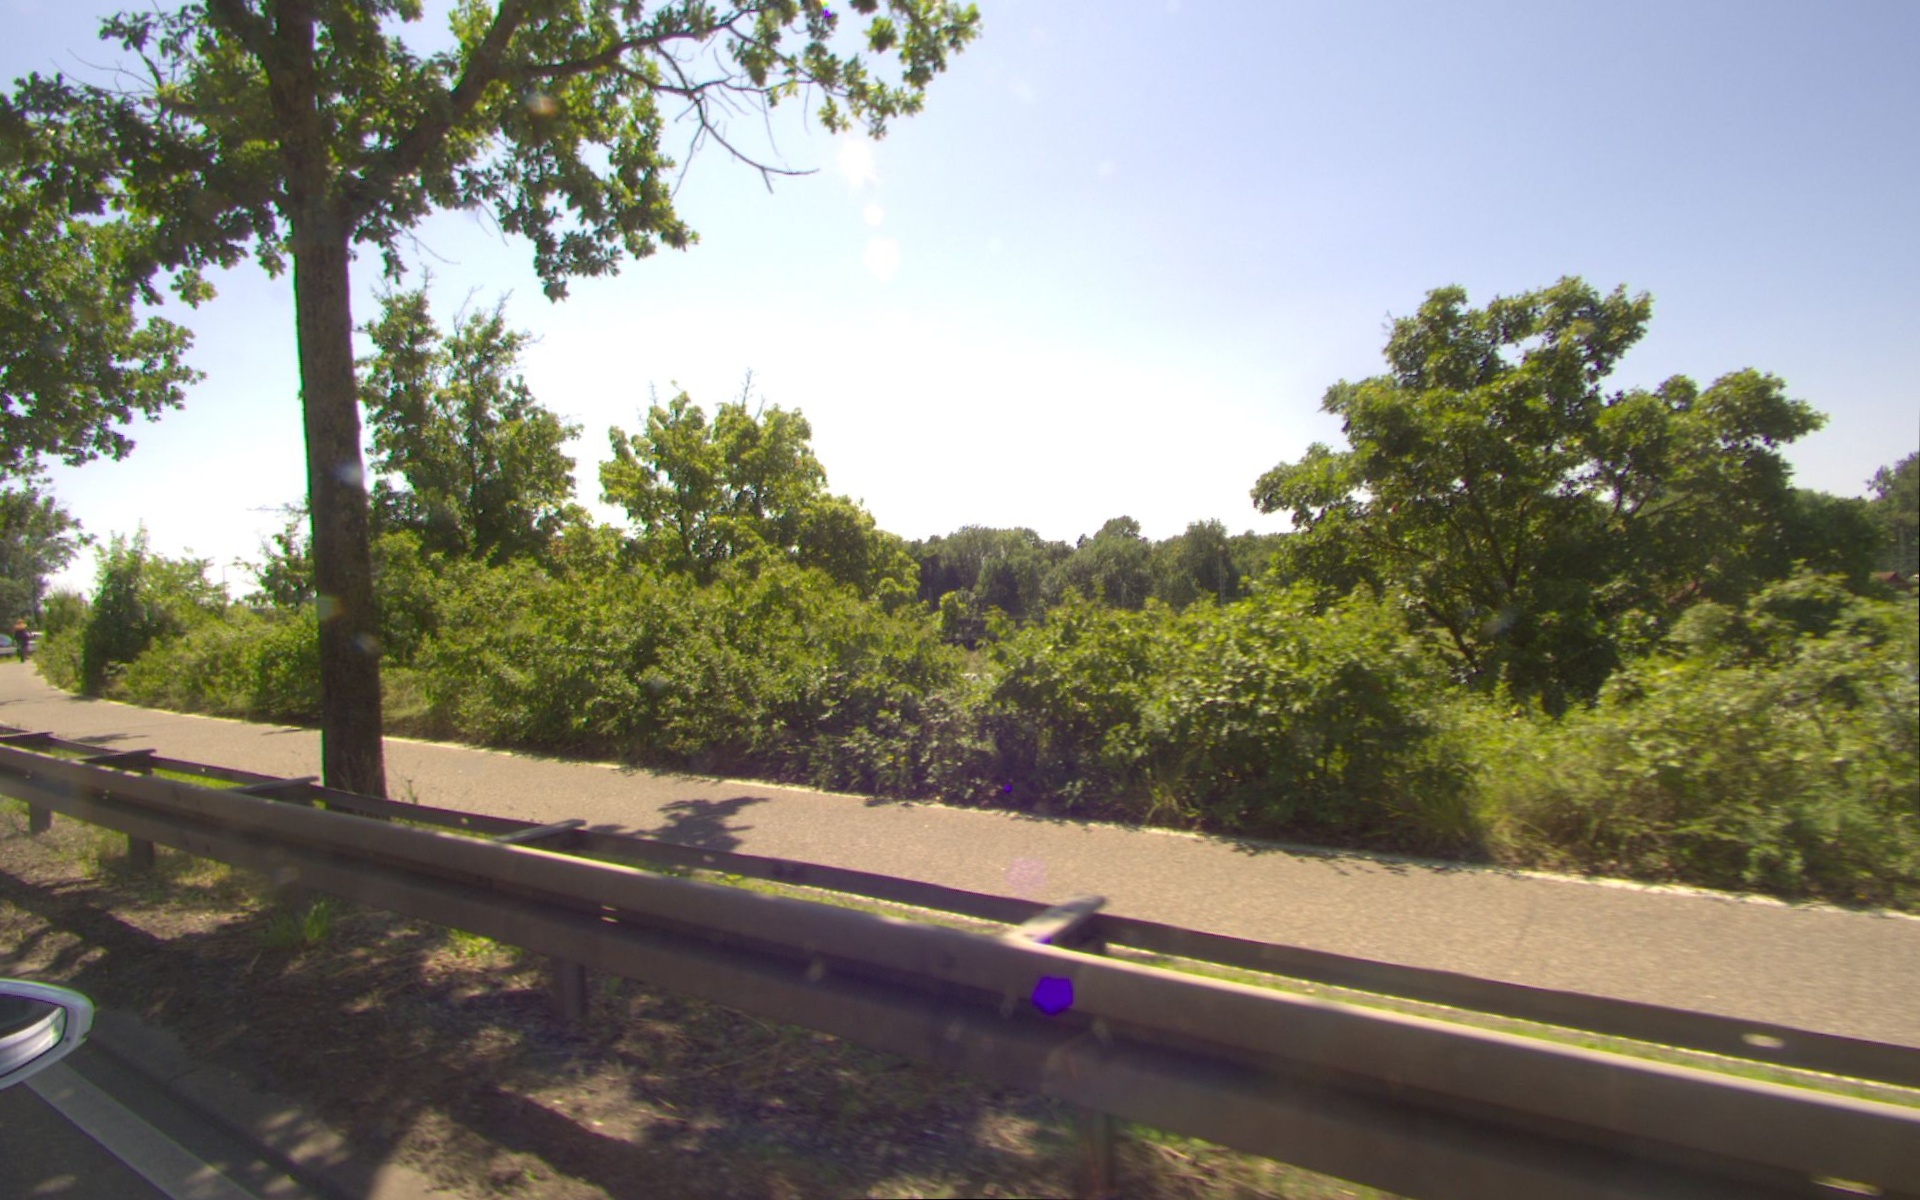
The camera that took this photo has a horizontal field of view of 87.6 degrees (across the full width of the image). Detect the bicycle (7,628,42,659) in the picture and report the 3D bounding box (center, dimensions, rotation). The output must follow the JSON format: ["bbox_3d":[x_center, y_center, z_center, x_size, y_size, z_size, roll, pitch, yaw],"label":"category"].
[{"bbox_3d":[-39.010,1.792,41.775,0.853,1.252,2.293,0,-2,-37],"label":"bicycle"}]

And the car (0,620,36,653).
[{"bbox_3d":[-51.997,1.993,54.362,1.974,1.739,4.839,0,-2,-34],"label":"car"}]

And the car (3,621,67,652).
[{"bbox_3d":[-55.415,2.191,60.071,1.973,1.790,4.728,0,-2,-32],"label":"car"}]

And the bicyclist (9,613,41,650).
[{"bbox_3d":[-38.981,1.317,41.760,0.852,1.543,0.974,0,-1,-35],"label":"bicyclist"}]
